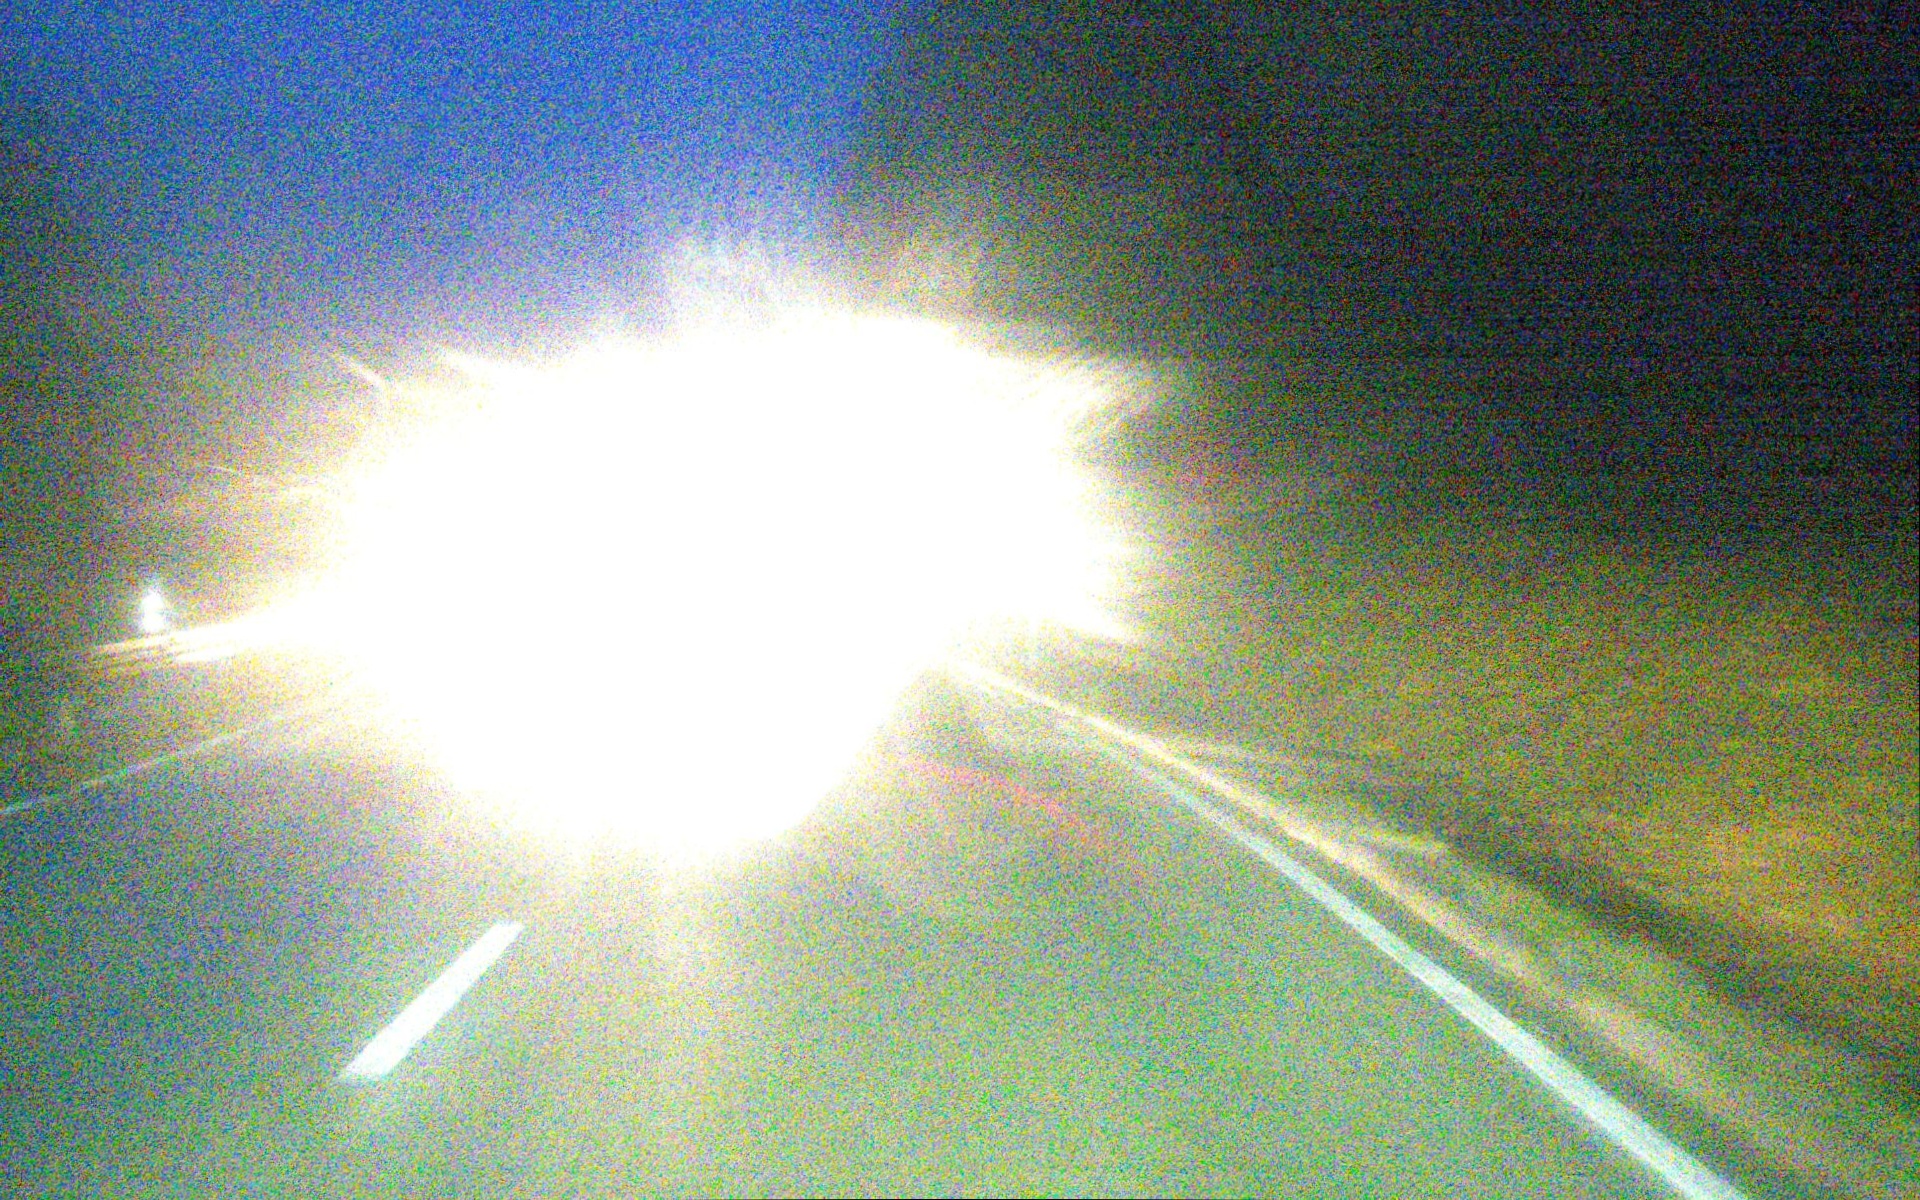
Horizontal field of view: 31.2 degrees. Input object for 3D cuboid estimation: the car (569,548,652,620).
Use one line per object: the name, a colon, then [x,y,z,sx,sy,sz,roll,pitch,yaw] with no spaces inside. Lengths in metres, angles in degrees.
car: [-8.106,-0.391,80.070,1.721,1.607,4.002,1,1,-3]
